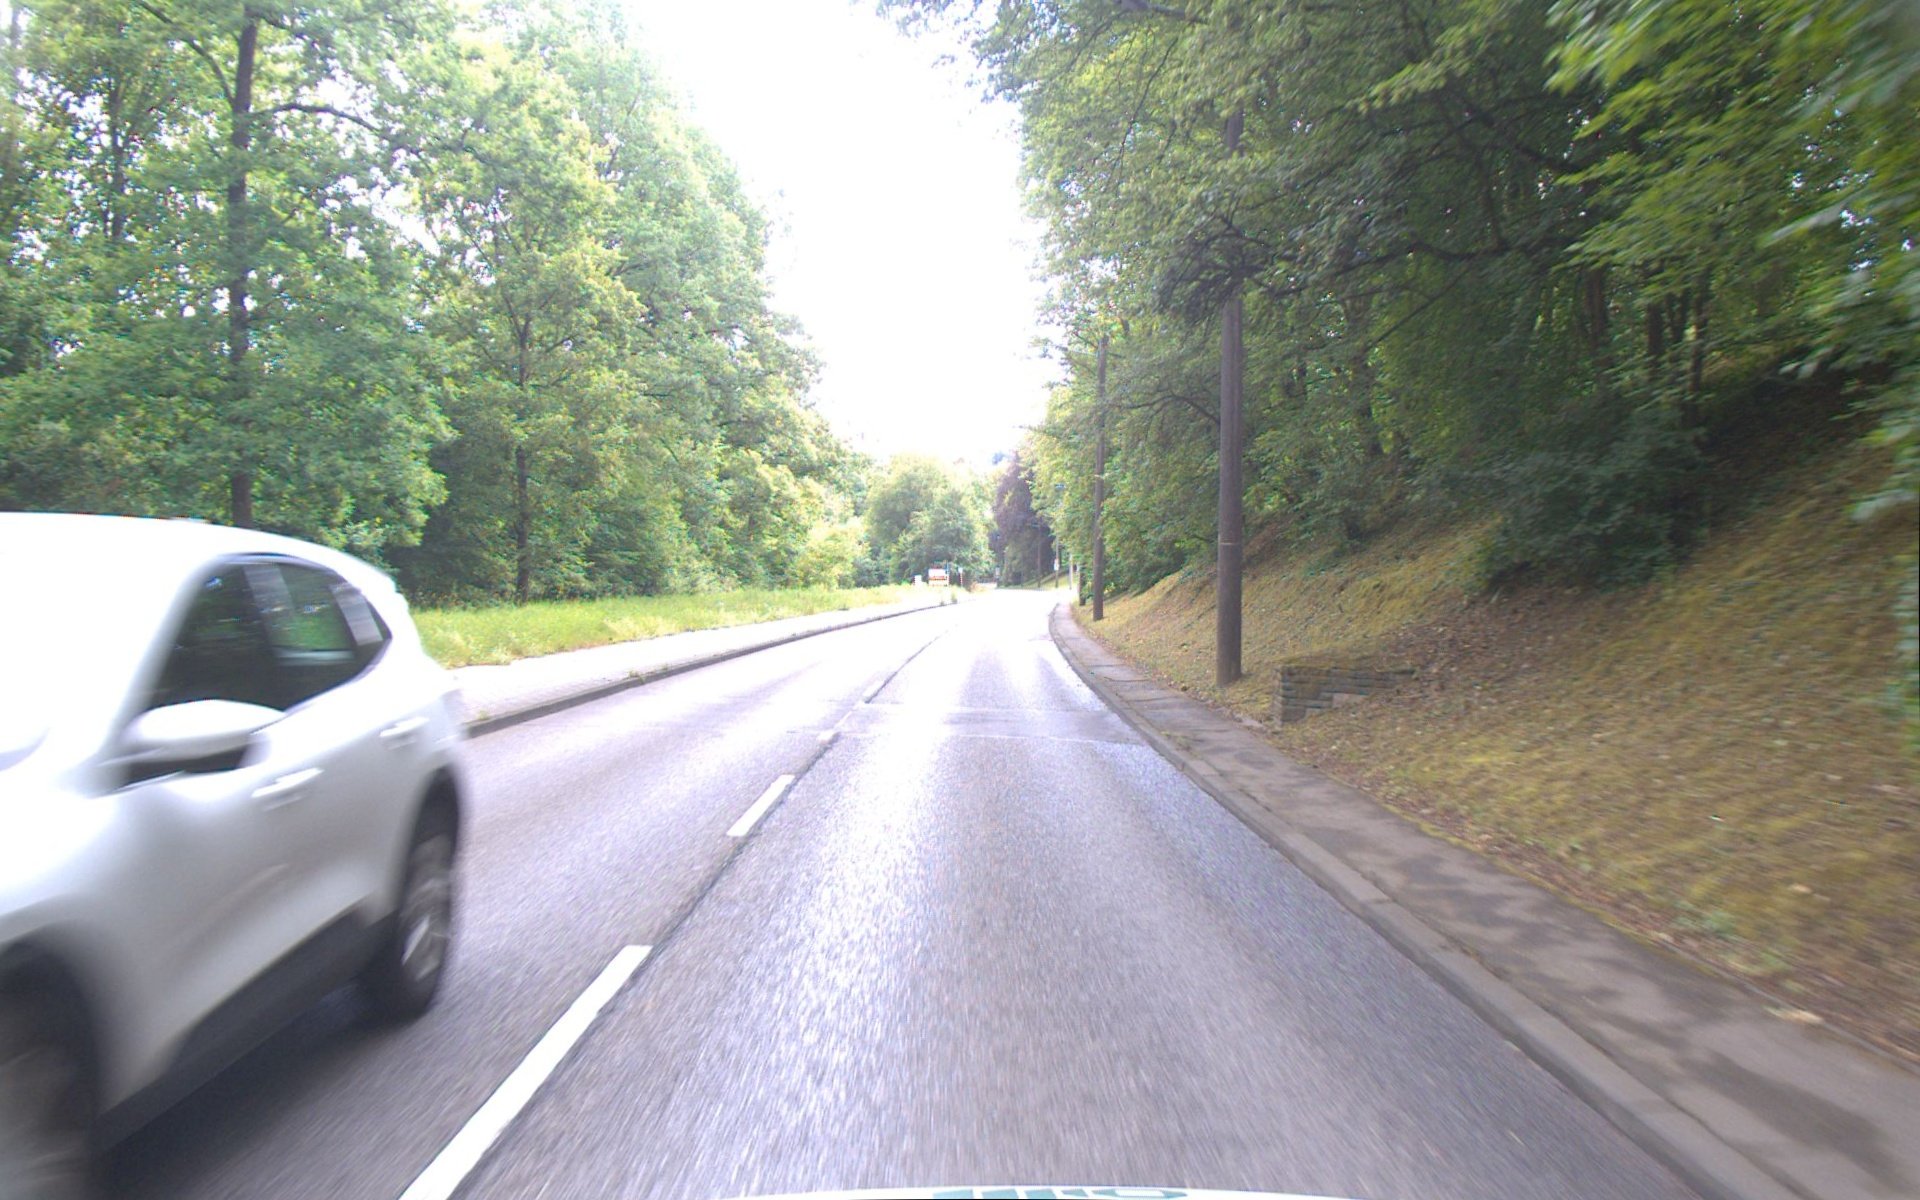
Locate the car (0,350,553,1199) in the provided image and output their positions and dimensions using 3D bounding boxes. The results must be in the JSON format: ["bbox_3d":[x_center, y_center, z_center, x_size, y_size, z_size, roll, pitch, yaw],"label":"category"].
[{"bbox_3d":[-2.680,0.443,4.496,1.953,1.784,4.781,1,0,0],"label":"car"}]
